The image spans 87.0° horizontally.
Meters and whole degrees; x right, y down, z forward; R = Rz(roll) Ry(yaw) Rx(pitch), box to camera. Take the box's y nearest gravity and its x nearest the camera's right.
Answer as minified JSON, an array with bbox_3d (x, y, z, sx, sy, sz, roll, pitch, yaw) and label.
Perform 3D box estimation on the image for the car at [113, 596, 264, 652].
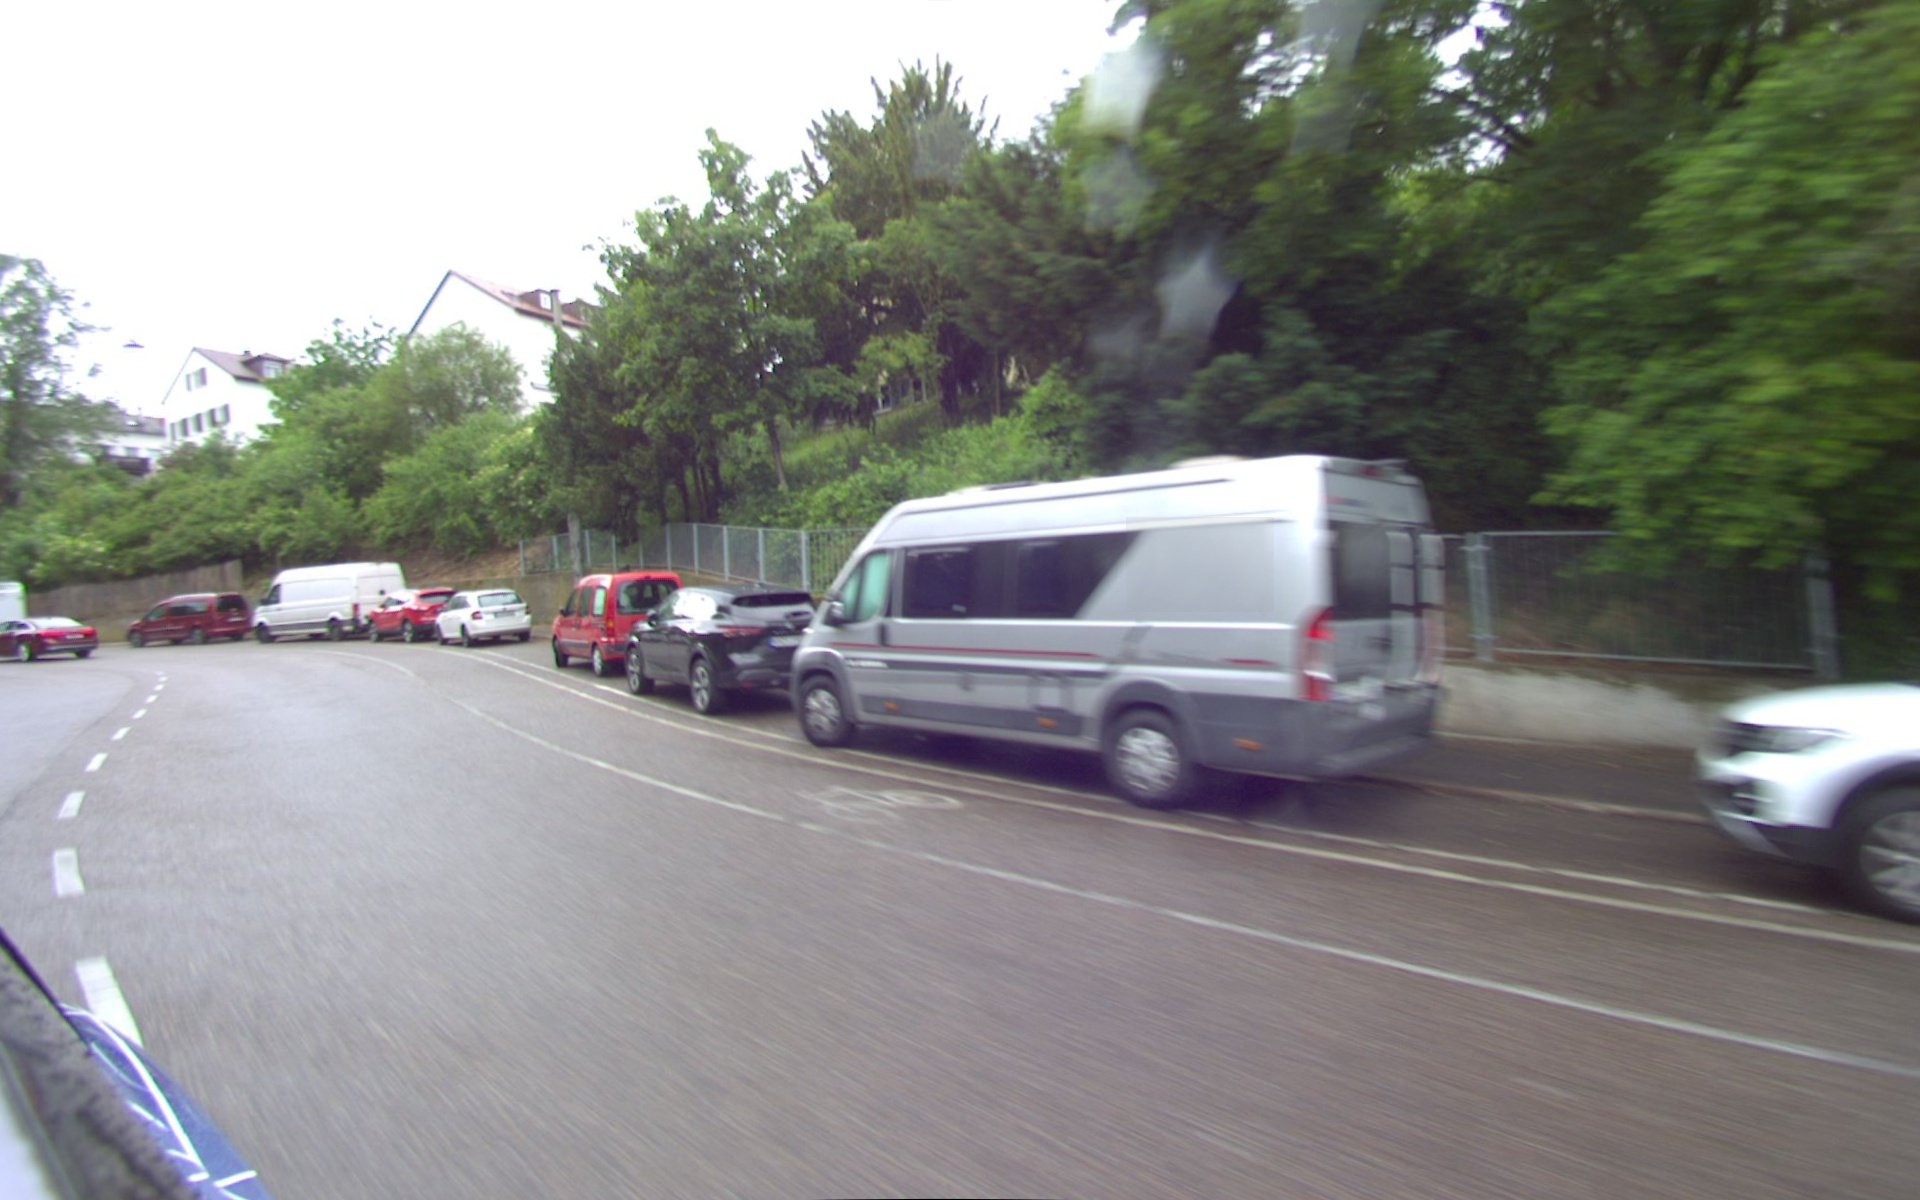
[{"bbox_3d":[-30.077,0.922,39.494,4.772,1.889,1.993,-3,2,13],"label":"car"}]

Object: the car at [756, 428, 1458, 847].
[{"bbox_3d":[0.816,0.153,9.194,2.050,2.568,6.351,-3,3,-44],"label":"car"}]

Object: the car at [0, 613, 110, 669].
[{"bbox_3d":[-31.285,1.365,34.180,4.451,1.527,1.862,-1,7,21],"label":"car"}]

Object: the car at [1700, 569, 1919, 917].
[{"bbox_3d":[5.950,0.661,4.665,4.015,1.595,1.788,0,-1,34],"label":"car"}]

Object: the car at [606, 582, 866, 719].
[{"bbox_3d":[-3.334,0.595,14.388,1.967,1.631,4.407,-1,0,-37],"label":"car"}]

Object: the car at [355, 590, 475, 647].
[{"bbox_3d":[-17.349,0.591,32.147,4.429,1.597,1.758,-2,3,40],"label":"car"}]

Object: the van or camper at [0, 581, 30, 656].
[{"bbox_3d":[-41.962,0.887,40.188,7.413,2.989,2.461,-2,1,-4],"label":"van or camper"}]

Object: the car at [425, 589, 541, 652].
[{"bbox_3d":[-13.375,0.550,28.268,1.717,1.489,4.204,-7,3,-41],"label":"car"}]

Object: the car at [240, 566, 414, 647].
[{"bbox_3d":[-22.541,0.264,35.926,6.791,2.549,2.022,-2,2,28],"label":"car"}]

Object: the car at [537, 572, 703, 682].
[{"bbox_3d":[-6.501,0.418,19.058,1.727,1.781,4.146,-3,2,-36],"label":"car"}]
